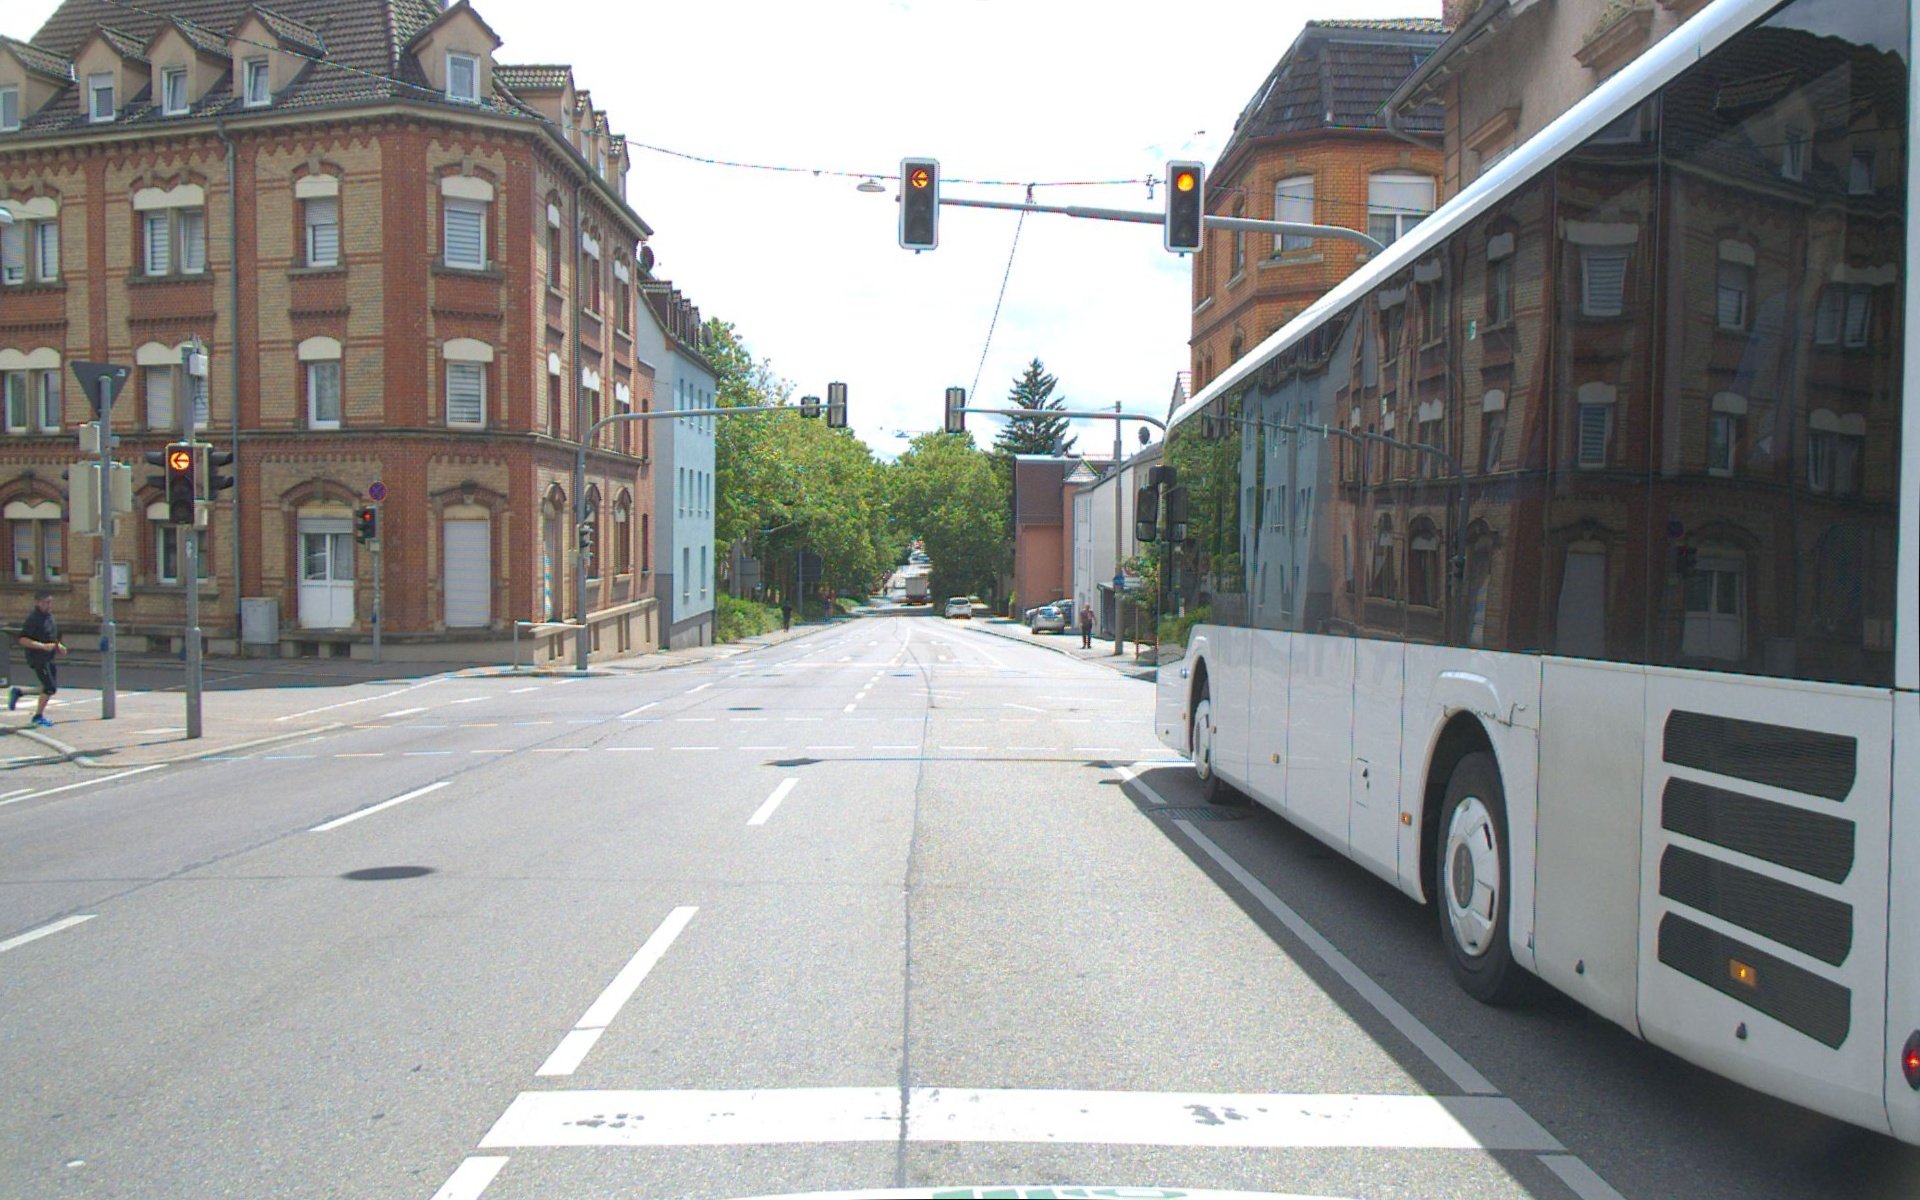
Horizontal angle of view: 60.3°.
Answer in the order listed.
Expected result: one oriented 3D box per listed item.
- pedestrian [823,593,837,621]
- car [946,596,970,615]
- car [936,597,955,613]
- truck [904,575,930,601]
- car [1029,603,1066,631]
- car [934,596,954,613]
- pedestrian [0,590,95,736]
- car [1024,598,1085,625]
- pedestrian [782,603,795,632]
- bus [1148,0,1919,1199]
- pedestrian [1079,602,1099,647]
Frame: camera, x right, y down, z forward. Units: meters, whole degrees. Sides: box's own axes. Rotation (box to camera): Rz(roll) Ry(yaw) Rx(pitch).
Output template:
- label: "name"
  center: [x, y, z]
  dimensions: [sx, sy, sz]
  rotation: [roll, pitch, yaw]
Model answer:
- label: "pedestrian"
  center: [-9.518, 0.494, 121.354]
  dimensions: [0.974, 2.049, 1.188]
  rotation: [0, 0, -1]
- label: "car"
  center: [-0.178, 0.437, 129.412]
  dimensions: [1.758, 1.434, 3.999]
  rotation: [1, 0, -1]
- label: "car"
  center: [-1.338, 0.492, 153.894]
  dimensions: [1.757, 1.434, 4.418]
  rotation: [1, 0, 0]
- label: "truck"
  center: [-5.285, -1.479, 201.442]
  dimensions: [2.868, 3.135, 7.881]
  rotation: [-1, 0, -3]
- label: "car"
  center: [4.912, 0.932, 93.121]
  dimensions: [1.758, 1.434, 3.999]
  rotation: [-1, 1, -2]
- label: "car"
  center: [-1.408, 0.382, 145.787]
  dimensions: [1.757, 1.434, 4.418]
  rotation: [1, 0, 0]
- label: "pedestrian"
  center: [-11.450, 0.766, 20.461]
  dimensions: [1.118, 1.765, 0.758]
  rotation: [0, 0, -5]
- label: "car"
  center: [6.485, 0.762, 113.246]
  dimensions: [3.909, 1.788, 1.998]
  rotation: [-1, 0, -6]
- label: "pedestrian"
  center: [-9.437, 0.976, 90.981]
  dimensions: [0.714, 1.592, 0.560]
  rotation: [0, 0, -2]
- label: "bus"
  center: [3.143, -0.132, 9.255]
  dimensions: [2.618, 3.211, 12.459]
  rotation: [0, 0, -1]
- label: "pedestrian"
  center: [5.089, 0.957, 65.387]
  dimensions: [0.723, 1.781, 0.619]
  rotation: [-1, 0, -1]
